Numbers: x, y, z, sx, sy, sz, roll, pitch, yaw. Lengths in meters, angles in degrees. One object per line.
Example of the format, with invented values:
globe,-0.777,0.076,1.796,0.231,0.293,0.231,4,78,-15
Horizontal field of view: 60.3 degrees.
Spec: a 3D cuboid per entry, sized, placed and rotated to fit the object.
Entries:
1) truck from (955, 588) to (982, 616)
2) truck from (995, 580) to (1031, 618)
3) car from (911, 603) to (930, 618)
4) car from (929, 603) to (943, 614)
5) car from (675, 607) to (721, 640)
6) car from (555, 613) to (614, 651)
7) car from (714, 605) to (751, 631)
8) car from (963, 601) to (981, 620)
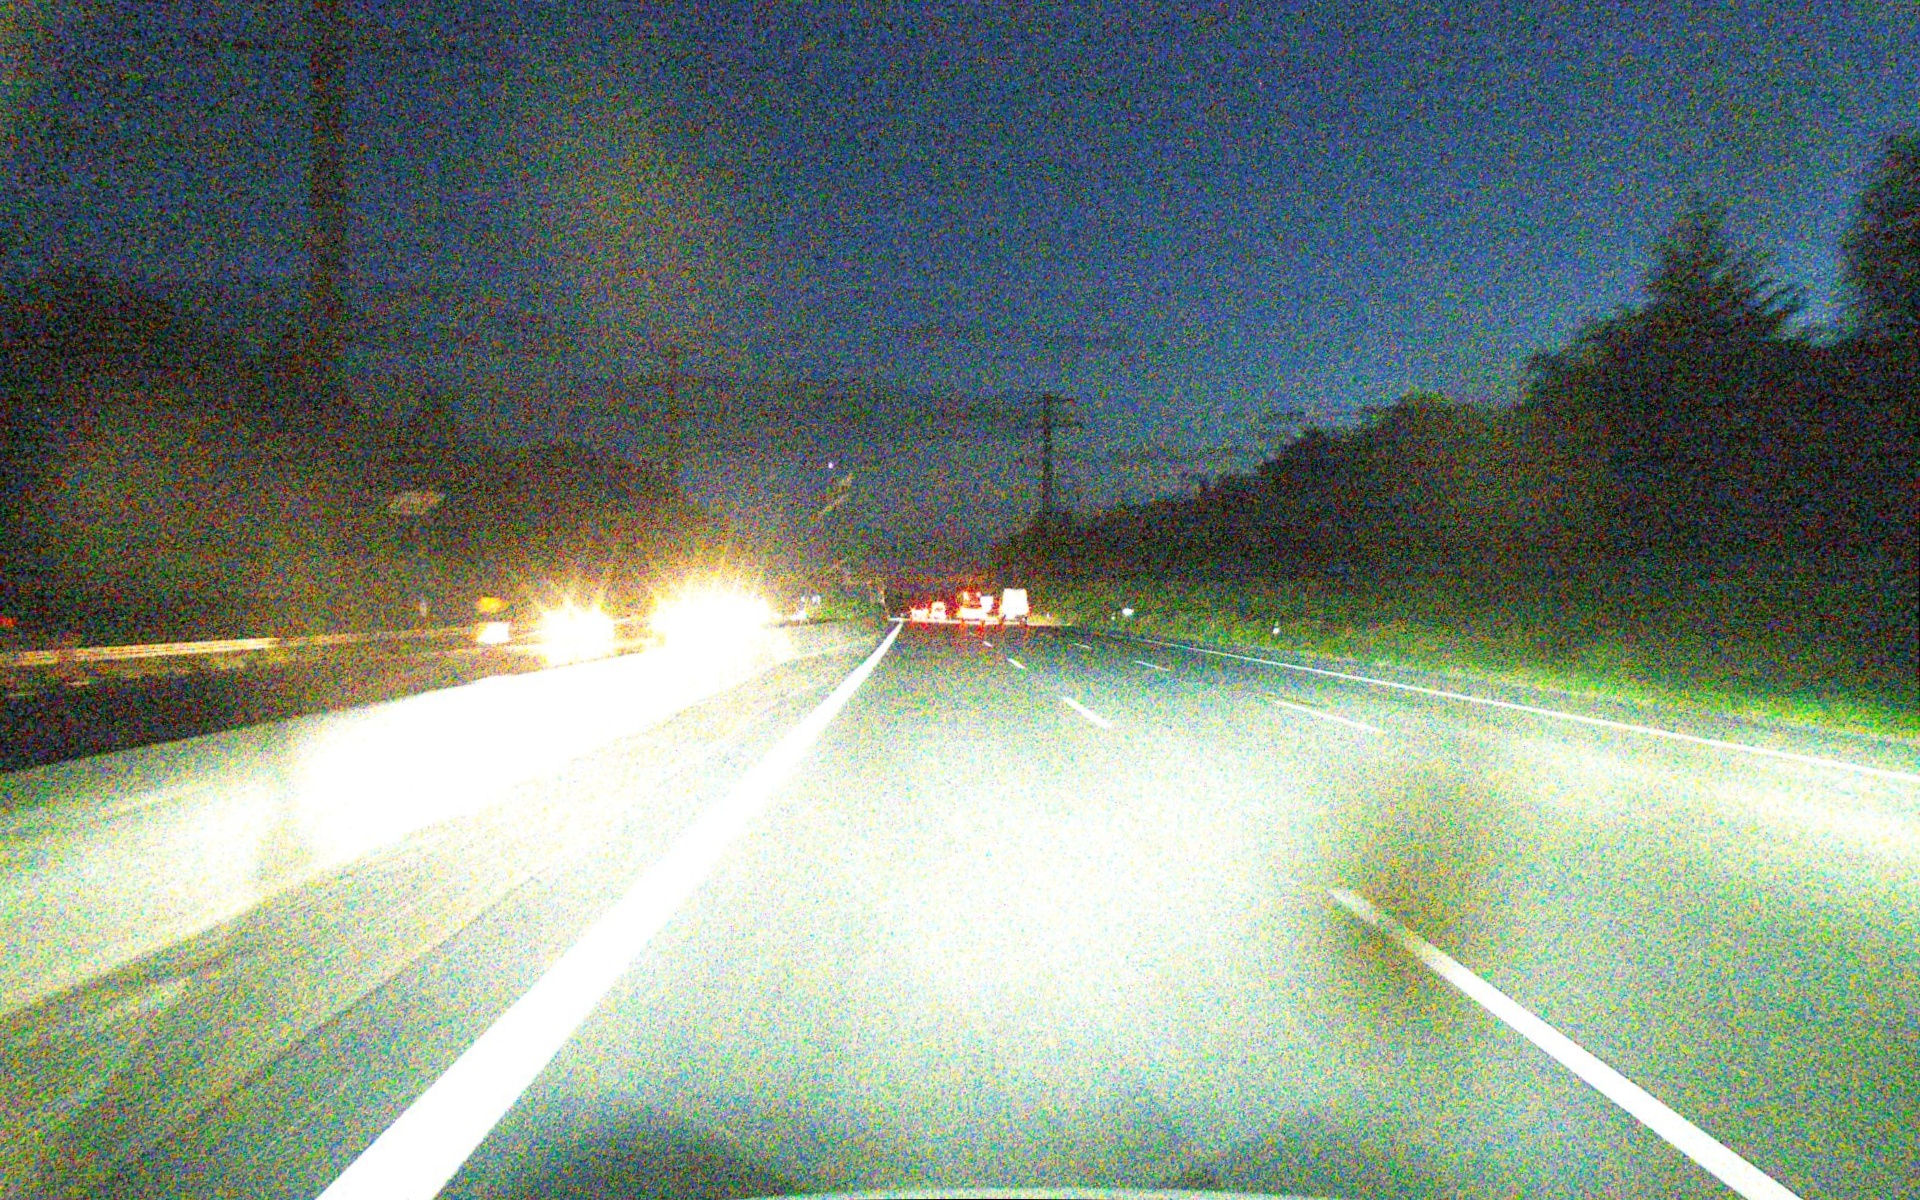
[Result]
truck,1.074,0.232,211.677,2.983,3.383,10.138,2,0,-2
truck,4.048,-0.127,127.989,2.035,2.738,7.303,2,1,-3
car,-3.967,1.038,166.301,1.784,1.492,4.246,2,0,-2
car,-3.375,1.181,231.090,1.784,1.492,4.246,2,0,-2
car,-13.068,1.136,82.663,1.715,1.504,4.580,-2,0,-3
car,-16.428,1.374,72.550,1.715,1.504,4.580,-2,0,-3
car,-13.957,1.081,101.627,1.715,1.504,4.581,-2,0,-1
car,0.934,0.844,129.342,1.319,1.411,3.500,2,0,-2
